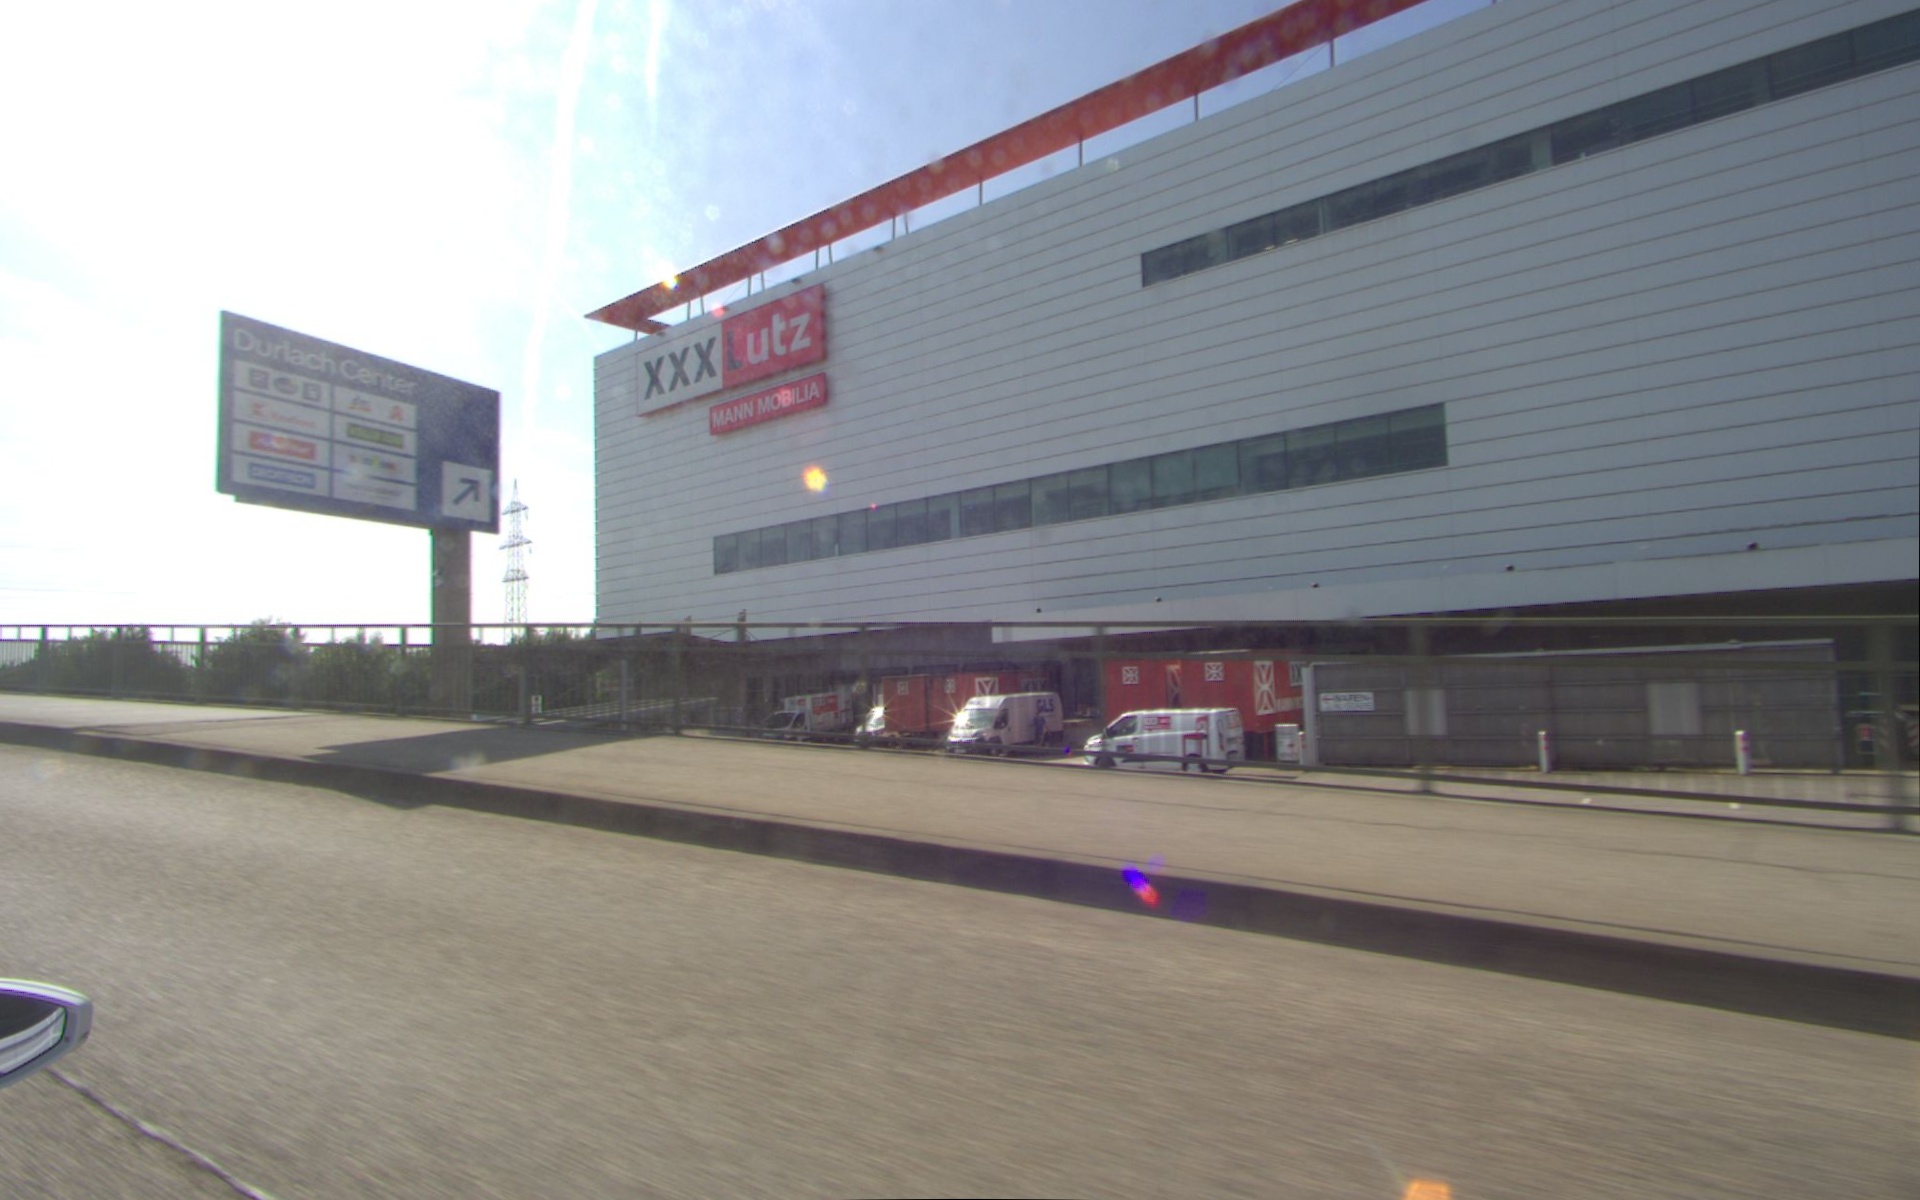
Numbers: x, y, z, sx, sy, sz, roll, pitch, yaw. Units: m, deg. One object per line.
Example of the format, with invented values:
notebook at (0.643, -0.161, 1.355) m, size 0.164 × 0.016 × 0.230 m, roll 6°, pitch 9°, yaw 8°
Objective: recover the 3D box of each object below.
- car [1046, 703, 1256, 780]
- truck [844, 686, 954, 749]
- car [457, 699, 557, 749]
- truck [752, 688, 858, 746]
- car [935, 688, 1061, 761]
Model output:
car at (5.734, 4.249, 30.588) m, size 5.940 × 2.029 × 2.118 m, roll -5°, pitch -4°, yaw 37°
truck at (-3.043, 5.930, 51.304) m, size 2.108 × 2.961 × 5.971 m, roll -5°, pitch -6°, yaw 39°
car at (-29.241, 7.999, 64.942) m, size 2.098 × 2.961 × 6.000 m, roll -3°, pitch -5°, yaw 24°
truck at (-8.535, 6.443, 55.595) m, size 2.108 × 2.961 × 5.971 m, roll -5°, pitch -6°, yaw 39°
car at (1.644, 4.976, 40.666) m, size 2.106 × 2.651 × 5.977 m, roll -5°, pitch -6°, yaw 36°
